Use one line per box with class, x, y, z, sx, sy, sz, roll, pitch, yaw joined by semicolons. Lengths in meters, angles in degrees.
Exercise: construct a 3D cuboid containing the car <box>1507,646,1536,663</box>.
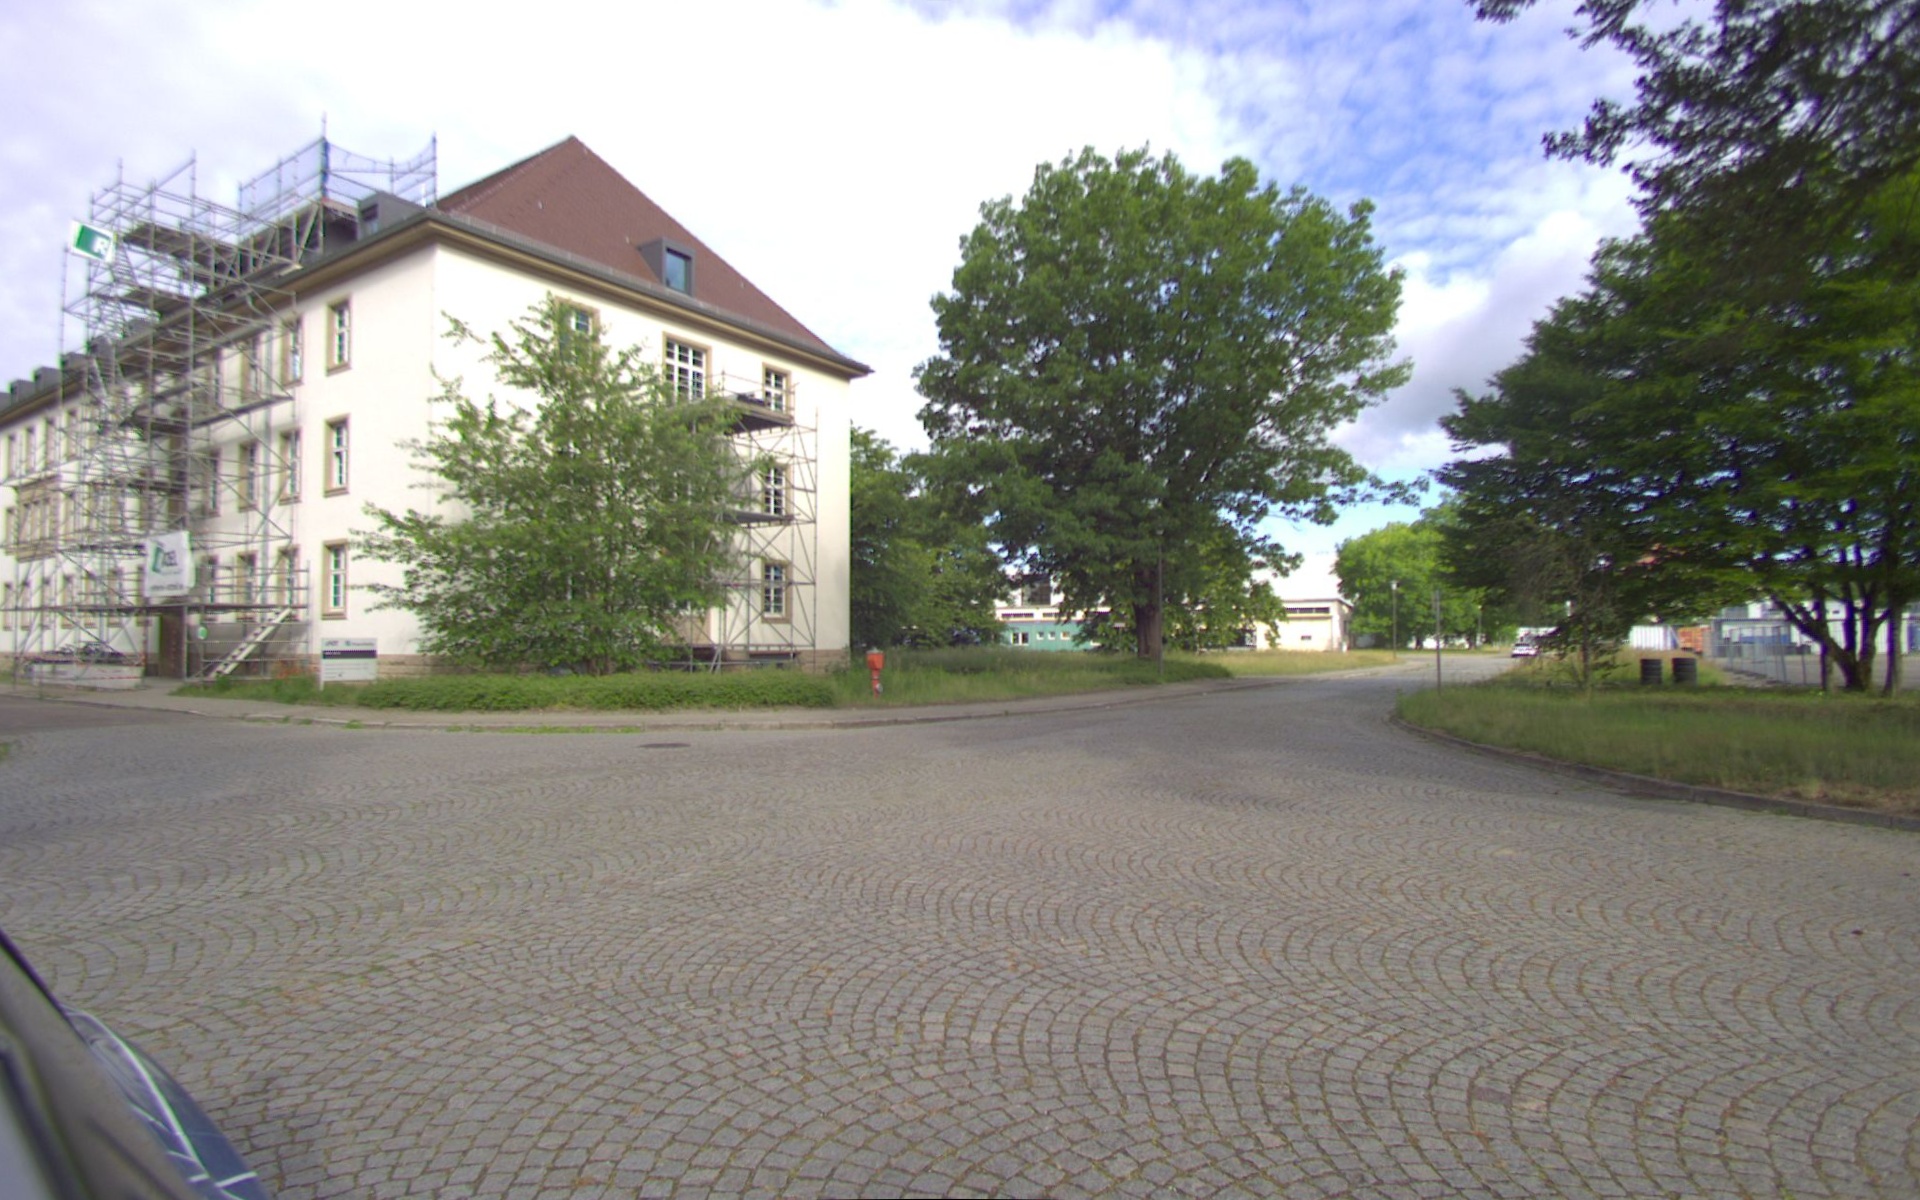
car;49.322;4.757;88.930;1.849;1.448;4.652;-3;-4;33
